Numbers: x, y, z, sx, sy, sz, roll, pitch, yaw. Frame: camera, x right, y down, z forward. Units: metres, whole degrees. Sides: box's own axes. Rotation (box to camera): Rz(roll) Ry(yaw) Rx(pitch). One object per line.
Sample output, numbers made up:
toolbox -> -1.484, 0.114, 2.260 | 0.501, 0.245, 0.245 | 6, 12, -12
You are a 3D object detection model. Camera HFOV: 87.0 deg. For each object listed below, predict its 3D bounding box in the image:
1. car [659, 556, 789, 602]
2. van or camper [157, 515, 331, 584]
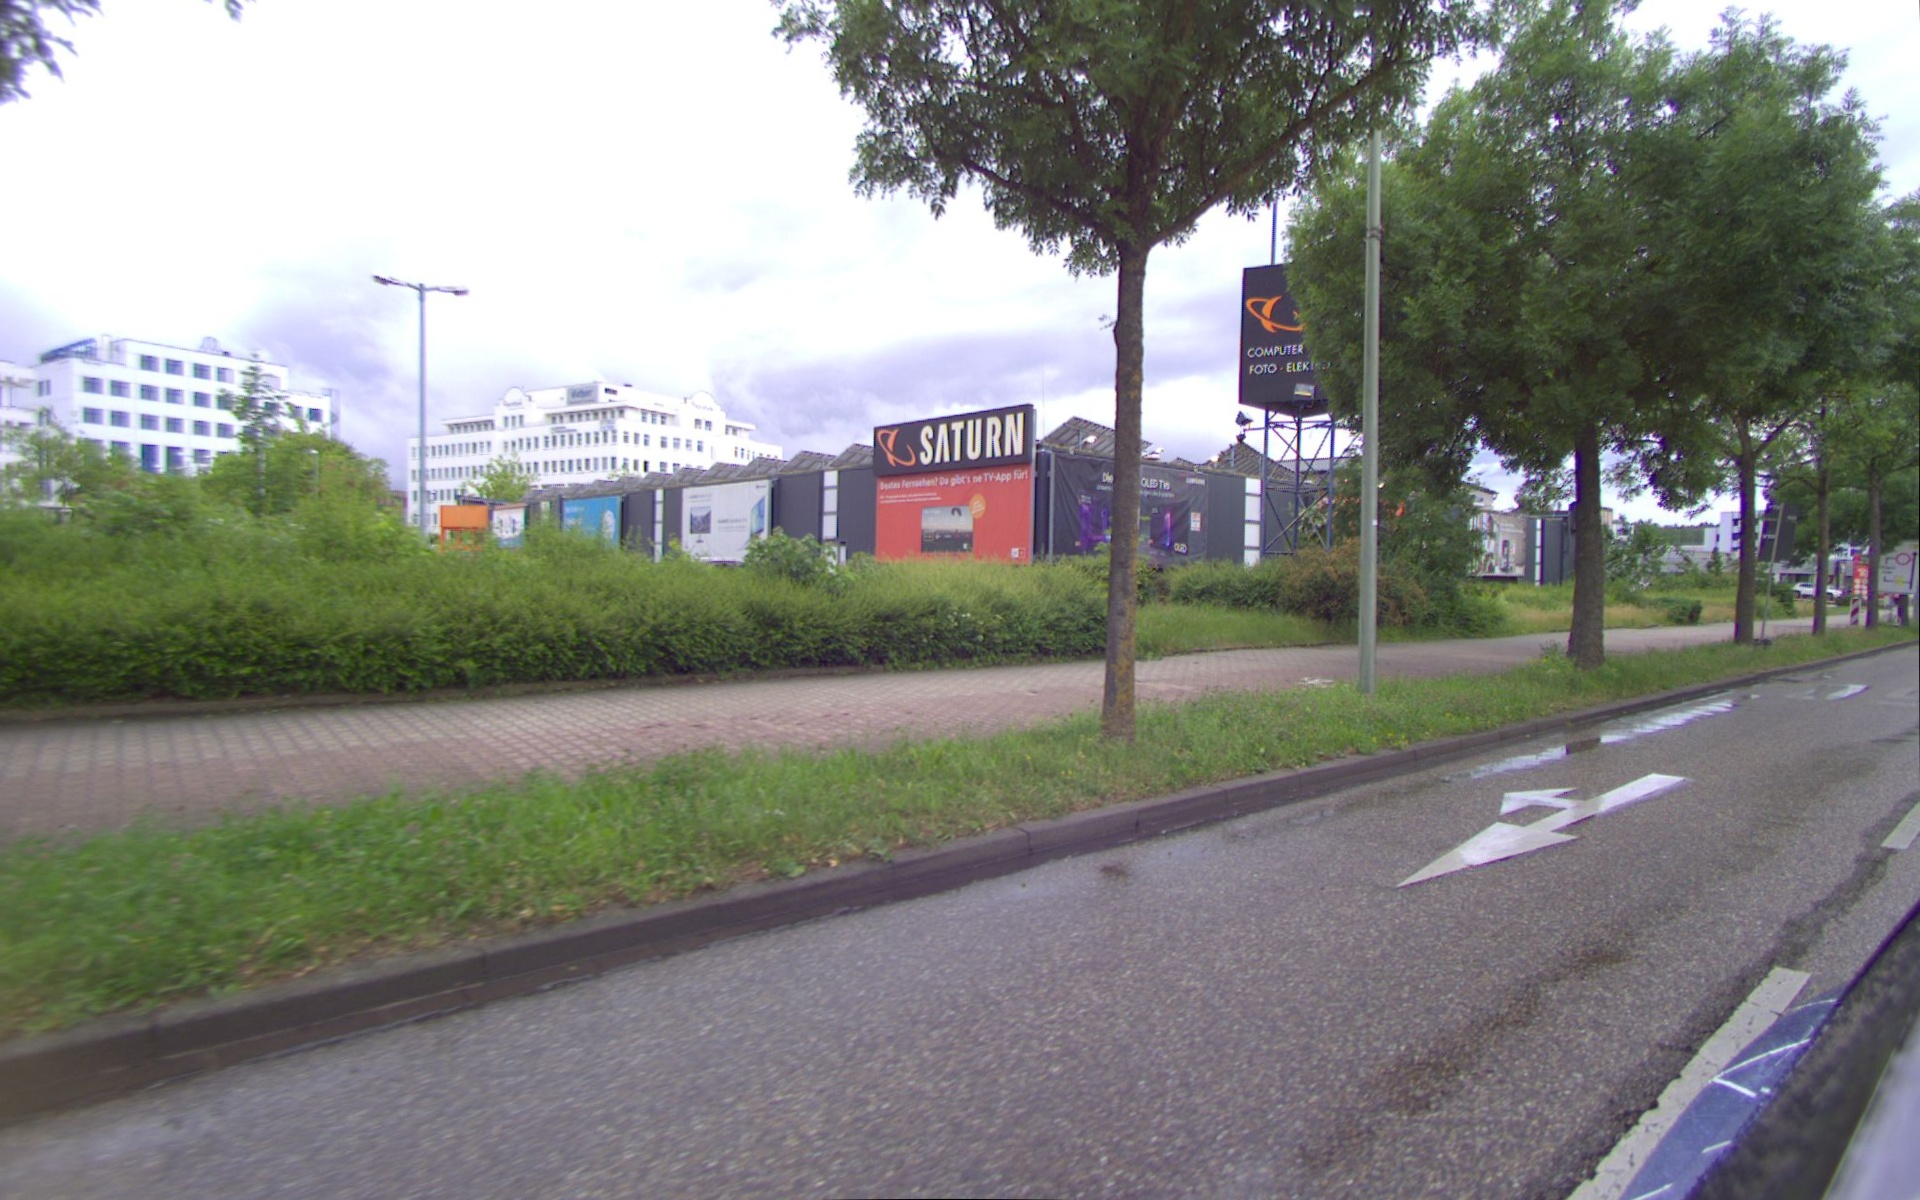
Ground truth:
car -> -8.576, -0.766, 36.993 | 4.292, 1.593, 1.906 | -1, 2, -44
van or camper -> -25.698, -1.747, 36.406 | 4.936, 2.282, 2.153 | 0, 2, -41
